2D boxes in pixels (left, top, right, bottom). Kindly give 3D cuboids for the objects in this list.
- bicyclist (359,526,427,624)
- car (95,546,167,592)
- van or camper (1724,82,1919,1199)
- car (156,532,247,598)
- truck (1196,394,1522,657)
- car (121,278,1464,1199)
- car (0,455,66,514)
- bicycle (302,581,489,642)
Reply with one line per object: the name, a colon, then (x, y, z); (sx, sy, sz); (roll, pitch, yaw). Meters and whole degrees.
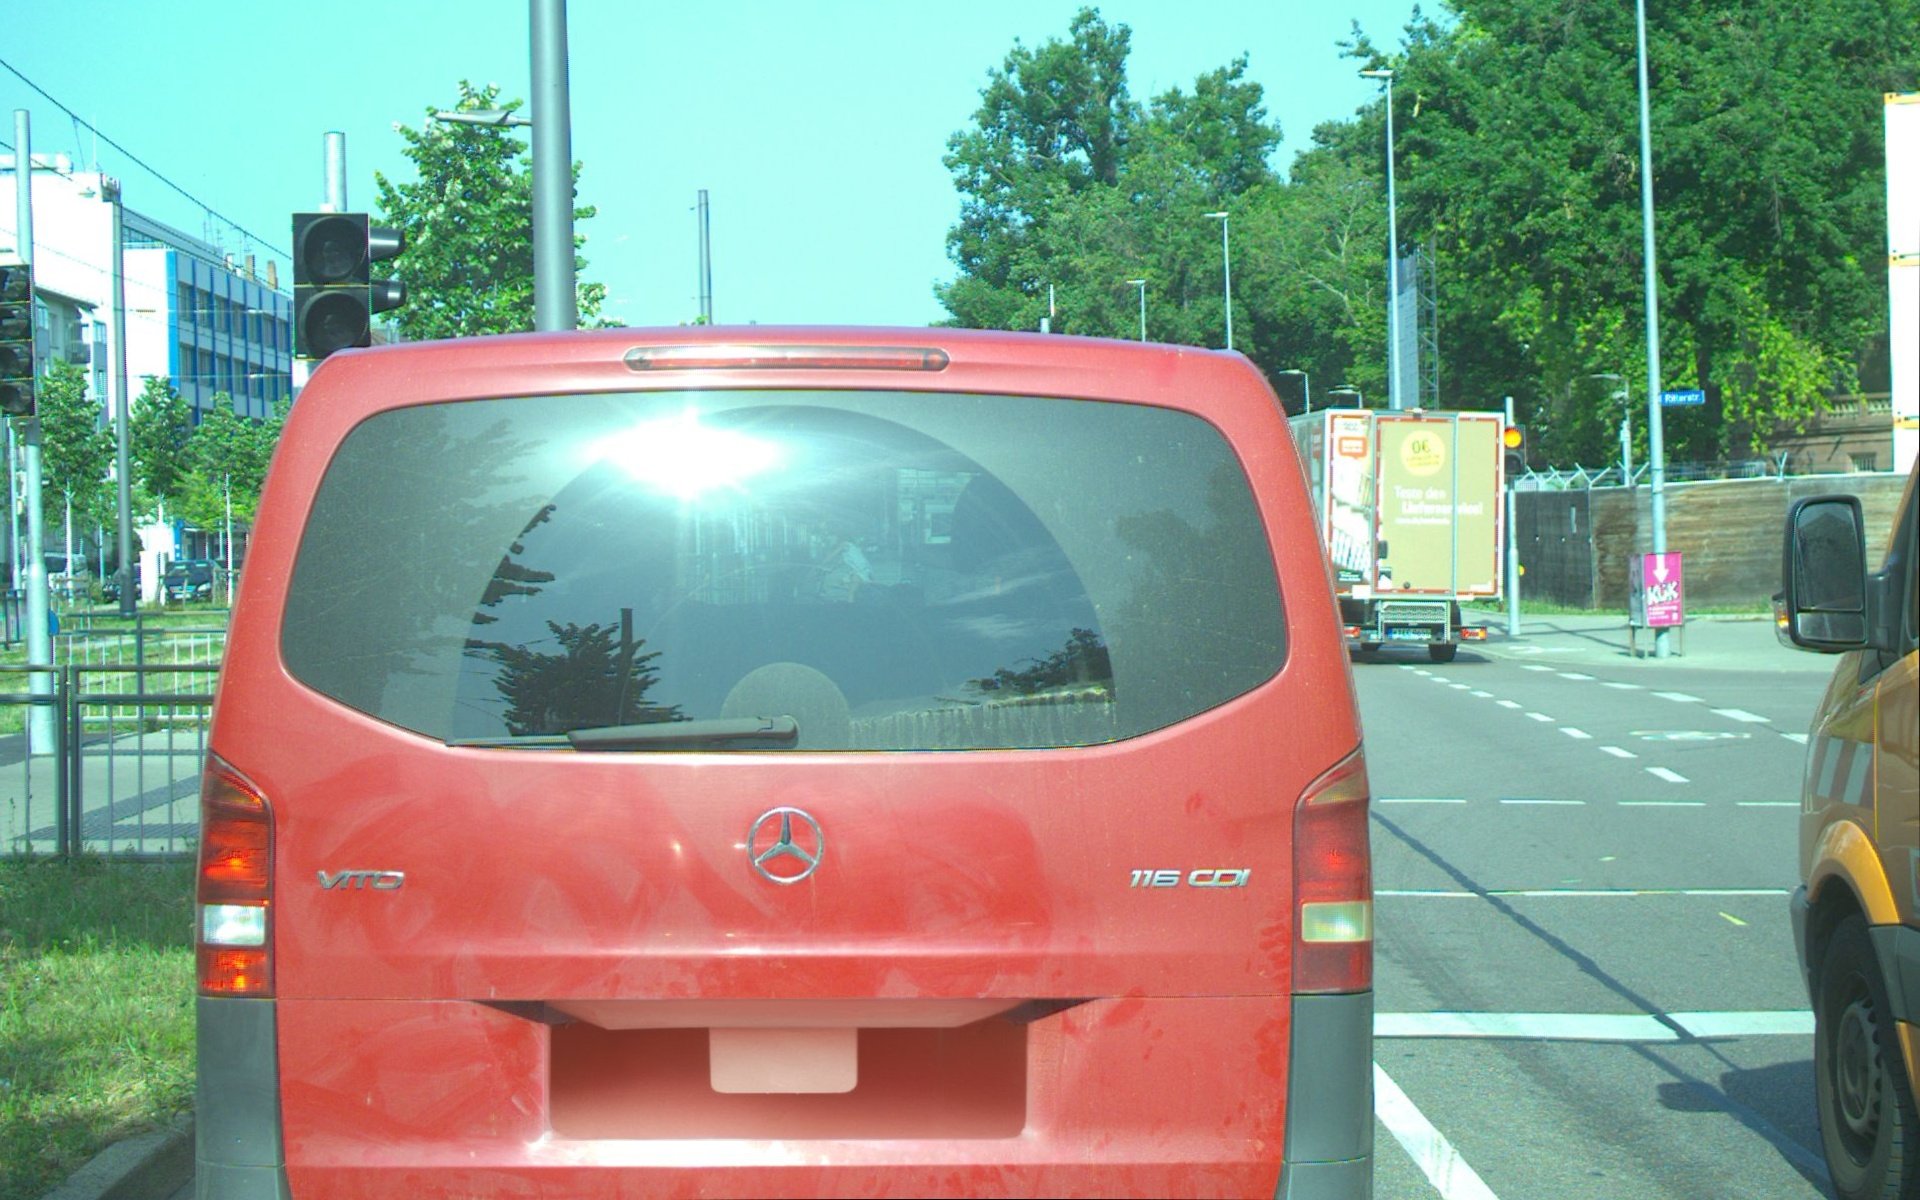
bicyclist: (-9.604, -0.427, 58.240); (0.890, 1.623, 0.892); (-1, 1, 6)
car: (-31.111, -1.174, 129.140); (1.742, 1.668, 4.000); (-1, 1, -1)
van or camper: (2.938, 0.205, 5.515); (1.986, 2.463, 6.061); (0, 0, -1)
car: (-24.726, -1.142, 112.181); (1.993, 2.007, 4.000); (-4, 1, -1)
truck: (4.948, -0.912, 44.184); (2.501, 3.050, 7.822); (1, 1, -6)
car: (-0.278, 0.441, 6.905); (1.901, 1.853, 4.000); (1, 1, -1)
car: (-36.007, -4.428, 131.935); (2.249, 2.007, 5.264); (1, -1, -3)
bicycle: (-9.557, 0.197, 58.241); (2.988, 0.962, 0.900); (-1, 1, 6)
